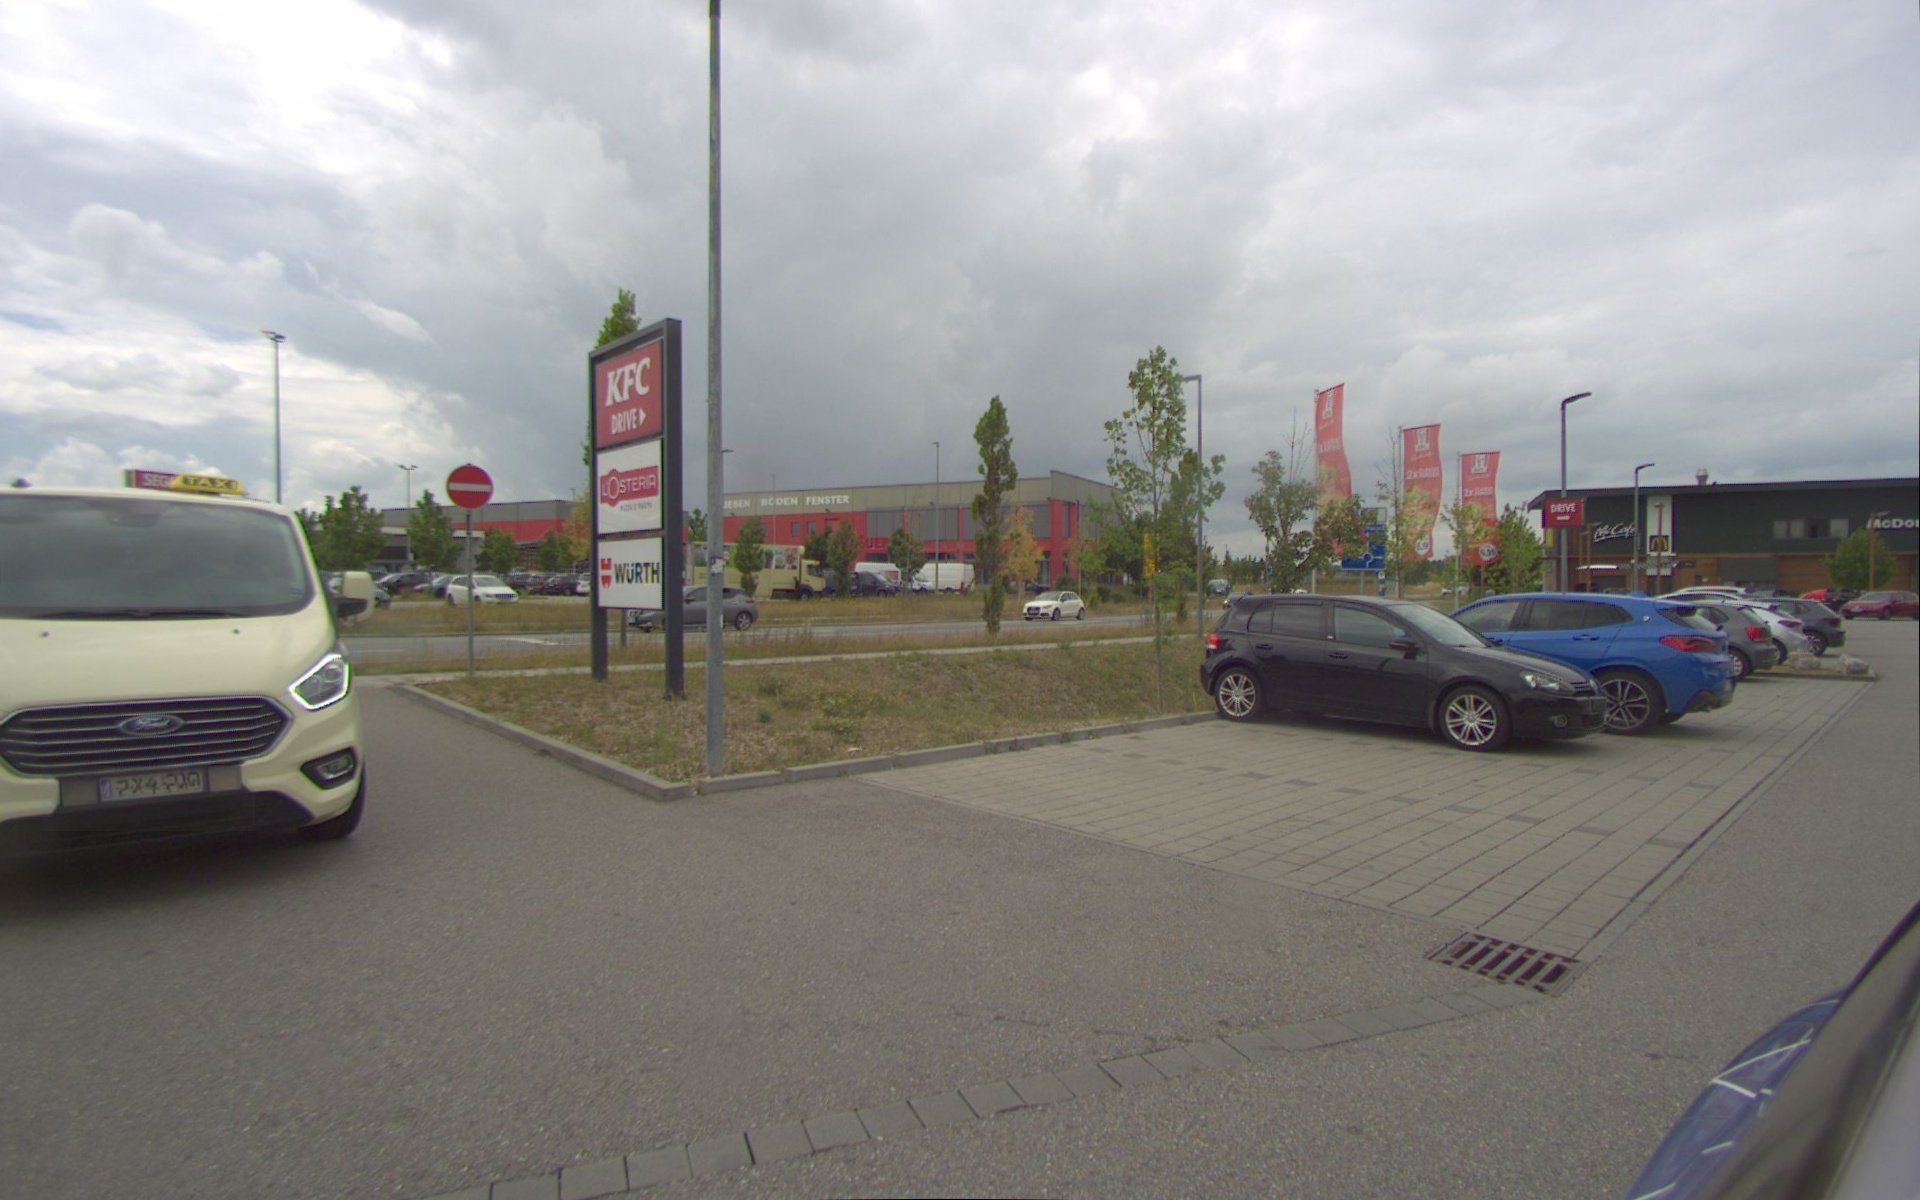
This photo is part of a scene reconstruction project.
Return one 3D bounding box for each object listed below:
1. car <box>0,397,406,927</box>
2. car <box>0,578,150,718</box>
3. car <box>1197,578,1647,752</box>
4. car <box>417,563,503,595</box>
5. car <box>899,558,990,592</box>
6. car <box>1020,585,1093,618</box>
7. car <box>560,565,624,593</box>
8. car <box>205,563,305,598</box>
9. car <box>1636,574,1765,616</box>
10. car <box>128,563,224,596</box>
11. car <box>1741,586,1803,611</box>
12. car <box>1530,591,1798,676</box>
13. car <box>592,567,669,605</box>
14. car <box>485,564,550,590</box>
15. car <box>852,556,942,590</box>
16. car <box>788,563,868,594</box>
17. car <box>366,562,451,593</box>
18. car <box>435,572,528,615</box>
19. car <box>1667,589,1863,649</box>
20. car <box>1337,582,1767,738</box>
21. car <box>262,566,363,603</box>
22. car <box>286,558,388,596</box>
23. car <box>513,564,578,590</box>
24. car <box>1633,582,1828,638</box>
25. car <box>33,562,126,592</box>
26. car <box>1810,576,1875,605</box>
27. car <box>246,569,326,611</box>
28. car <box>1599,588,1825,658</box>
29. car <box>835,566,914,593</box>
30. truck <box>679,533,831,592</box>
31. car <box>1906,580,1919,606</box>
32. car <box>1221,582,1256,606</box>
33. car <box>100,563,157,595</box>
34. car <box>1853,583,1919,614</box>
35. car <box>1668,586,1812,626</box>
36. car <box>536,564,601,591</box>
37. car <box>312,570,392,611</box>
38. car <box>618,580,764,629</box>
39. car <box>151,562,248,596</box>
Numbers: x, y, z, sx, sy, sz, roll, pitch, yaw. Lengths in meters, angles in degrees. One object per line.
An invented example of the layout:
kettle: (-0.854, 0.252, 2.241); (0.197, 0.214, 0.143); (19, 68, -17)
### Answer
car: (-5.213, 0.196, 6.301); (1.966, 2.112, 5.221); (0, 1, -42)
car: (-9.984, 0.435, 11.287); (1.440, 1.353, 3.159); (0, 1, -40)
car: (4.785, 0.540, 10.939); (1.745, 1.478, 4.069); (1, 1, -41)
car: (-29.737, -1.291, 60.302); (1.982, 1.793, 4.280); (2, 2, 28)
car: (-1.168, -1.874, 74.913); (6.441, 2.295, 2.325); (2, 2, 26)
car: (4.704, 0.088, 48.747); (1.744, 1.510, 4.078); (1, 0, 35)
car: (-25.291, -1.461, 69.650); (1.978, 1.793, 3.968); (2, 2, 24)
car: (-39.434, -1.116, 56.697); (1.984, 1.860, 4.142); (2, 2, 30)
car: (32.757, -0.220, 44.931); (4.335, 1.735, 1.971); (-1, 0, 30)
car: (-47.050, -1.256, 60.839); (1.984, 1.860, 4.142); (2, 2, 30)
car: (55.595, -0.082, 69.250); (3.824, 1.604, 1.754); (0, 2, -25)
car: (13.446, 0.592, 19.483); (1.700, 1.446, 3.988); (-1, 0, -45)
car: (-17.084, -0.764, 52.392); (4.303, 1.793, 1.903); (3, 2, 41)
car: (-31.910, -1.660, 73.065); (1.983, 1.793, 3.960); (2, 2, 29)
car: (-4.461, -1.900, 71.192); (6.004, 2.242, 2.393); (2, 1, 28)
car: (-8.449, -1.336, 64.677); (5.034, 1.908, 2.053); (1, 1, 34)
car: (-34.326, -1.421, 63.050); (1.983, 1.793, 4.277); (2, 2, 29)
car: (-22.192, -0.347, 46.894); (4.290, 1.793, 1.977); (3, 2, 33)
car: (20.515, 0.483, 25.949); (3.788, 1.430, 1.714); (-1, 0, 39)
car: (7.012, 0.576, 12.319); (1.833, 1.564, 4.206); (0, 1, -43)
car: (-34.765, -0.855, 54.429); (1.984, 1.860, 4.142); (2, 2, 30)
car: (-32.614, -1.195, 53.059); (1.984, 1.860, 4.142); (2, 2, 30)
car: (-29.437, -1.633, 71.926); (1.980, 1.793, 3.965); (2, 2, 26)
car: (23.050, 0.311, 30.487); (4.519, 1.560, 1.900); (-1, 0, 37)
car: (-56.775, -1.498, 65.340); (1.984, 1.860, 4.142); (2, 2, 30)
car: (58.977, -0.655, 67.647); (3.918, 1.771, 2.003); (1, 1, -28)
car: (-27.597, -0.430, 41.369); (4.038, 1.558, 1.746); (3, 2, 41)
car: (16.843, 0.507, 22.767); (3.923, 1.430, 1.812); (-1, 0, 42)
car: (-5.774, -1.410, 68.263); (5.024, 1.659, 2.057); (2, 1, 28)
truck: (-12.018, -2.161, 59.530); (8.257, 3.235, 3.036); (0, 2, -24)
car: (66.660, -0.419, 69.050); (1.733, 1.775, 3.969); (2, 2, 23)
car: (22.084, -0.484, 80.248); (1.980, 1.726, 3.965); (2, 3, 26)
car: (-43.169, -1.120, 52.485); (1.967, 1.558, 4.150); (-1, 3, -44)
car: (46.286, -0.055, 49.953); (3.916, 1.483, 1.691); (0, 0, -20)
car: (29.283, 0.232, 38.167); (4.035, 1.430, 1.868); (-1, 0, 30)
car: (-27.357, -1.561, 70.873); (1.980, 1.793, 3.965); (2, 2, 26)
car: (-25.716, -0.439, 42.744); (4.038, 1.558, 1.746); (3, 2, 41)
car: (-8.737, 0.165, 33.143); (4.374, 1.510, 1.616); (1, 0, -43)
car: (-44.806, -1.247, 59.689); (1.984, 1.860, 4.142); (2, 2, 30)
